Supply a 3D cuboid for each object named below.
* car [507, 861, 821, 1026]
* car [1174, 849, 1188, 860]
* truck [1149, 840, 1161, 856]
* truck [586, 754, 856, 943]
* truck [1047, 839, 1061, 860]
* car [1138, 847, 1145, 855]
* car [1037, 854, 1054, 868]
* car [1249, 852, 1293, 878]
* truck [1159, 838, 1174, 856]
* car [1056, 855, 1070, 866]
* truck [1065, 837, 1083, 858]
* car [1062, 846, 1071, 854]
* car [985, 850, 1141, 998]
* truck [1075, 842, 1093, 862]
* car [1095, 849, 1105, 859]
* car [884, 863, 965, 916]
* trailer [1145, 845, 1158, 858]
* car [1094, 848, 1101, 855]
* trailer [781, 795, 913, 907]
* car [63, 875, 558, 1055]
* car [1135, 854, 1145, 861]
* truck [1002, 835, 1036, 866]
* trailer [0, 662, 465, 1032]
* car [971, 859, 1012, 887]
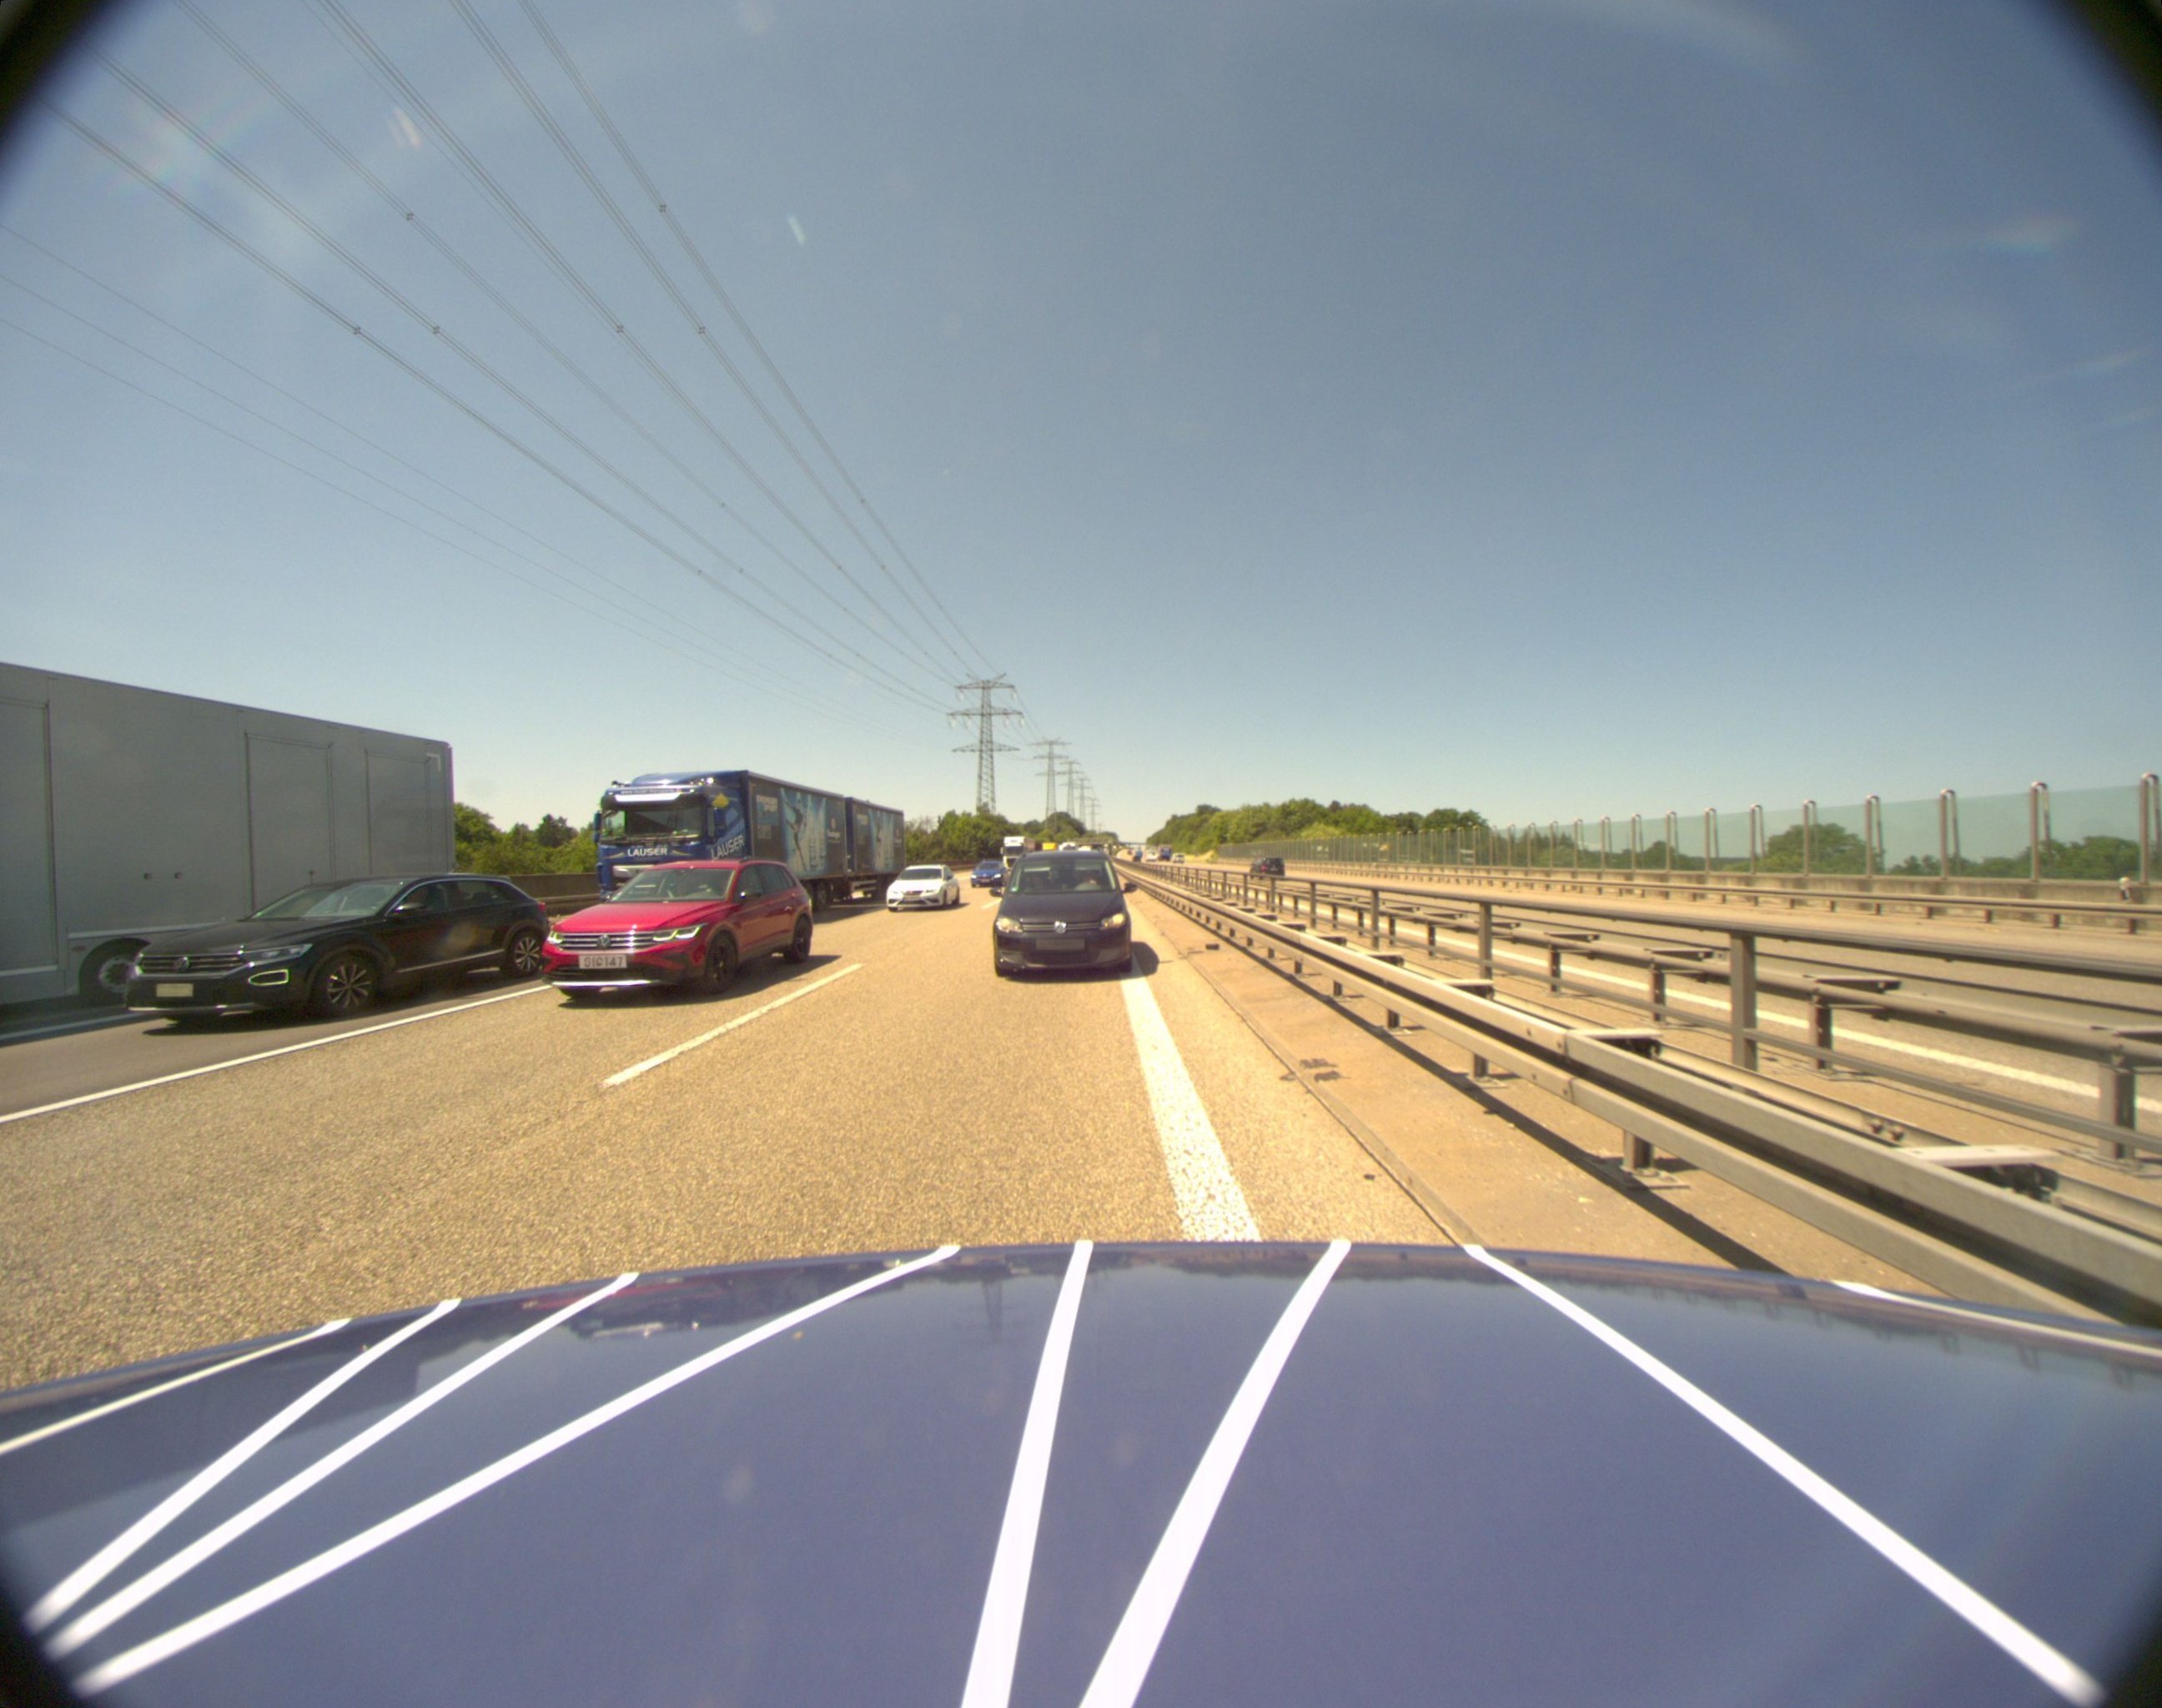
[{"bbox_3d":[-5.113,0.966,10.114,1.779,1.652,4.224,-1,0,0],"label":"car"},{"bbox_3d":[19.776,0.093,150.271,2.039,1.972,4.489,2,0,1],"label":"car"},{"bbox_3d":[22.433,-1.882,230.148,2.876,4.514,9.989,1,1,2],"label":"truck"},{"bbox_3d":[-9.393,-0.132,21.789,2.529,4.043,10.447,-2,0,1],"label":"truck"},{"bbox_3d":[-5.366,-0.881,153.158,2.346,4.058,8.278,-2,1,1],"label":"truck"},{"bbox_3d":[20.234,-0.998,254.919,1.986,2.575,5.037,1,1,1],"label":"car"},{"bbox_3d":[-4.071,0.802,87.325,1.763,1.495,4.094,-4,0,0],"label":"car"},{"bbox_3d":[13.151,0.744,52.776,1.999,1.662,4.186,1,0,0],"label":"car"},{"bbox_3d":[20.721,-1.644,184.740,2.876,4.062,9.989,1,1,2],"label":"truck"},{"bbox_3d":[-2.522,0.885,107.575,1.763,1.495,4.094,-1,0,0],"label":"car"},{"bbox_3d":[-1.321,-1.351,148.050,2.980,3.832,10.561,-2,0,1],"label":"truck"},{"bbox_3d":[-3.581,-1.112,190.860,1.998,2.002,4.000,0,0,1],"label":"car"},{"bbox_3d":[-0.197,0.801,10.805,1.740,1.652,4.000,-2,0,0],"label":"car"},{"bbox_3d":[0.461,-0.294,102.246,2.284,2.479,5.861,-2,0,1],"label":"truck"},{"bbox_3d":[3.840,-0.019,156.090,1.998,2.002,4.000,-2,1,1],"label":"car"},{"bbox_3d":[-5.065,1.096,25.115,1.843,1.481,4.071,-2,0,-1],"label":"car"},{"bbox_3d":[15.818,-0.513,169.846,2.322,2.690,6.361,1,0,1],"label":"trailer"},{"bbox_3d":[4.586,-0.654,212.436,1.998,2.002,4.000,-2,1,1],"label":"car"},{"bbox_3d":[-9.278,-0.100,31.316,2.572,3.921,8.479,-2,0,1],"label":"trailer"},{"bbox_3d":[-8.717,1.111,9.257,1.740,1.518,4.106,-2,0,1],"label":"car"},{"bbox_3d":[12.418,0.672,159.679,1.772,1.411,4.266,0,0,1],"label":"car"},{"bbox_3d":[-7.518,-0.460,93.381,2.985,3.538,10.967,-2,0,1],"label":"truck"},{"bbox_3d":[-13.223,-0.038,7.725,2.542,4.095,13.771,-2,0,0],"label":"trailer"},{"bbox_3d":[-5.125,1.057,44.097,1.739,1.437,4.211,-1,0,2],"label":"car"}]
